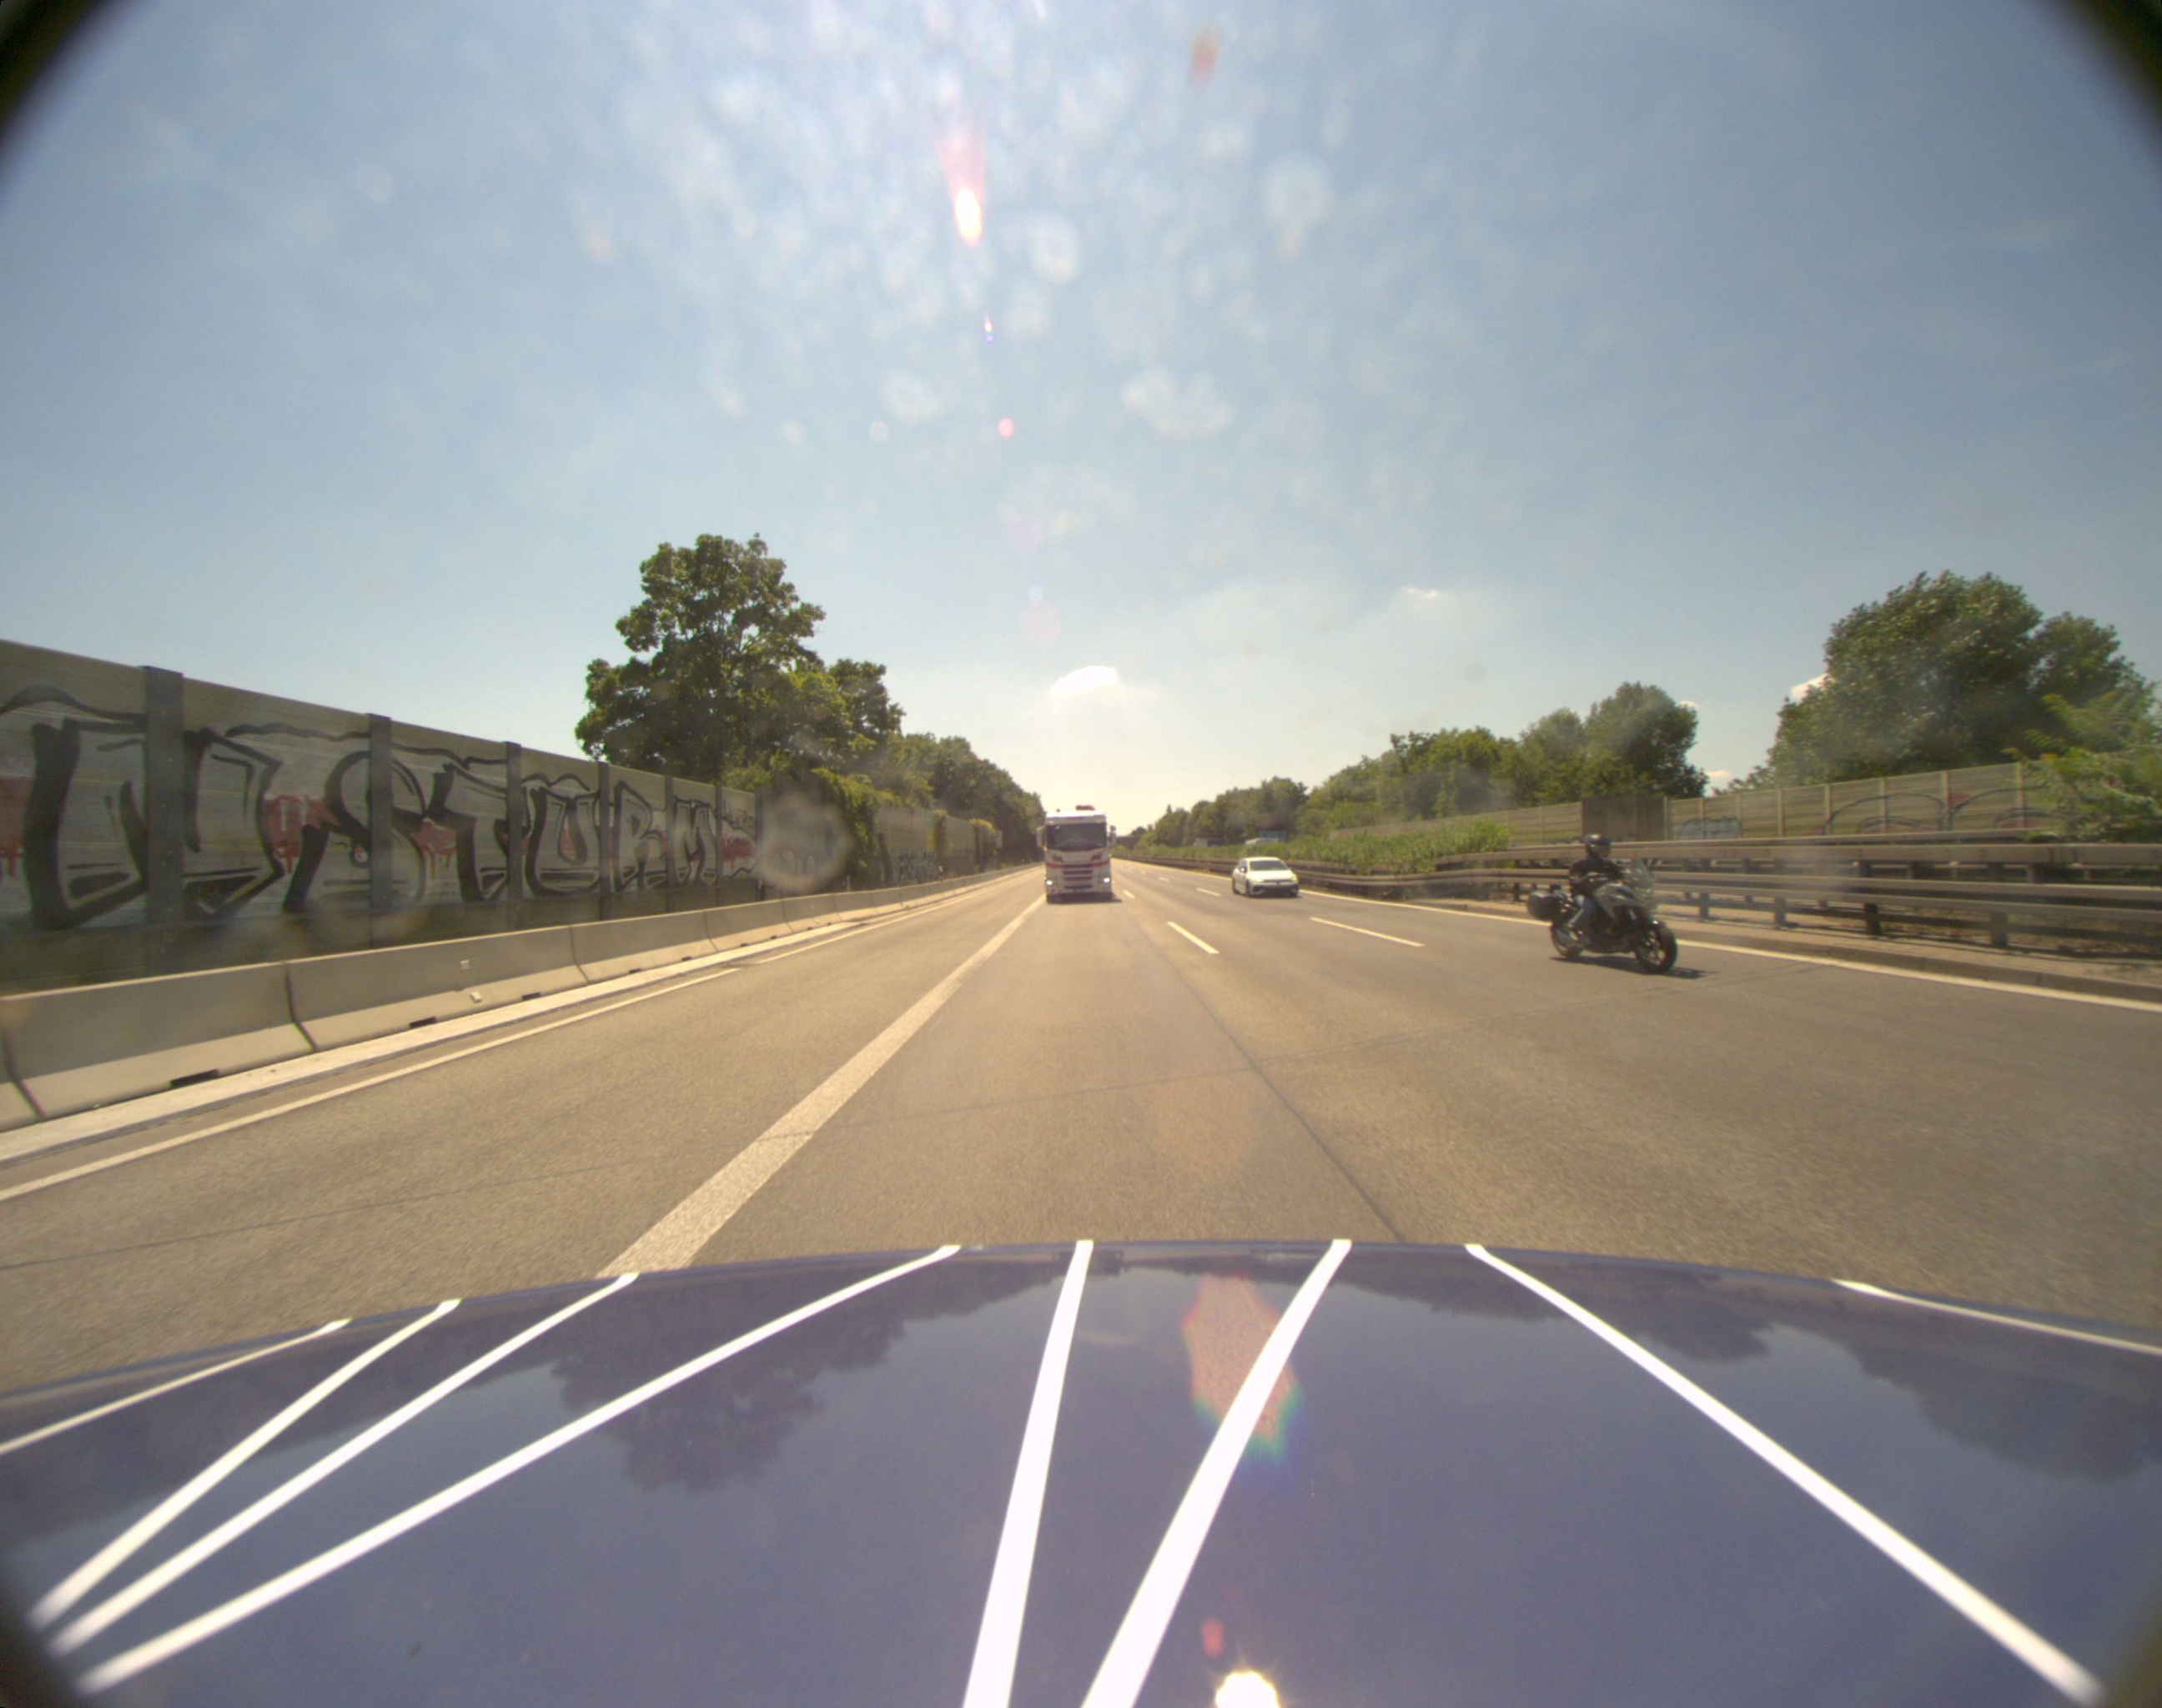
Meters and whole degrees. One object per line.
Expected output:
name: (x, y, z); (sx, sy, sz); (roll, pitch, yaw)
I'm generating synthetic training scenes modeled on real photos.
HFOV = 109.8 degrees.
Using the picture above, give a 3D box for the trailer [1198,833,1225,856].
trailer: (23.152, -1.652, 135.675); (2.712, 3.830, 13.674); (-1, 0, 2)

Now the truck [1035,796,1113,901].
truck: (-0.187, -0.138, 33.288); (2.721, 3.779, 10.673); (-2, -1, 1)

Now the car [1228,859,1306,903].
car: (6.879, 0.958, 28.553); (1.786, 1.432, 4.668); (-1, 0, 0)

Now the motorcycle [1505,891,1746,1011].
motorcycle: (6.473, 1.080, 9.341); (0.915, 1.082, 2.849); (-2, 0, 1)

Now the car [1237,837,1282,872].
car: (14.931, 0.030, 63.986); (2.246, 2.742, 6.219); (-1, 0, -1)

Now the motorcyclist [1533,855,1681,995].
motorcyclist: (6.467, 0.824, 9.438); (0.895, 1.587, 1.299); (-2, 0, 0)
